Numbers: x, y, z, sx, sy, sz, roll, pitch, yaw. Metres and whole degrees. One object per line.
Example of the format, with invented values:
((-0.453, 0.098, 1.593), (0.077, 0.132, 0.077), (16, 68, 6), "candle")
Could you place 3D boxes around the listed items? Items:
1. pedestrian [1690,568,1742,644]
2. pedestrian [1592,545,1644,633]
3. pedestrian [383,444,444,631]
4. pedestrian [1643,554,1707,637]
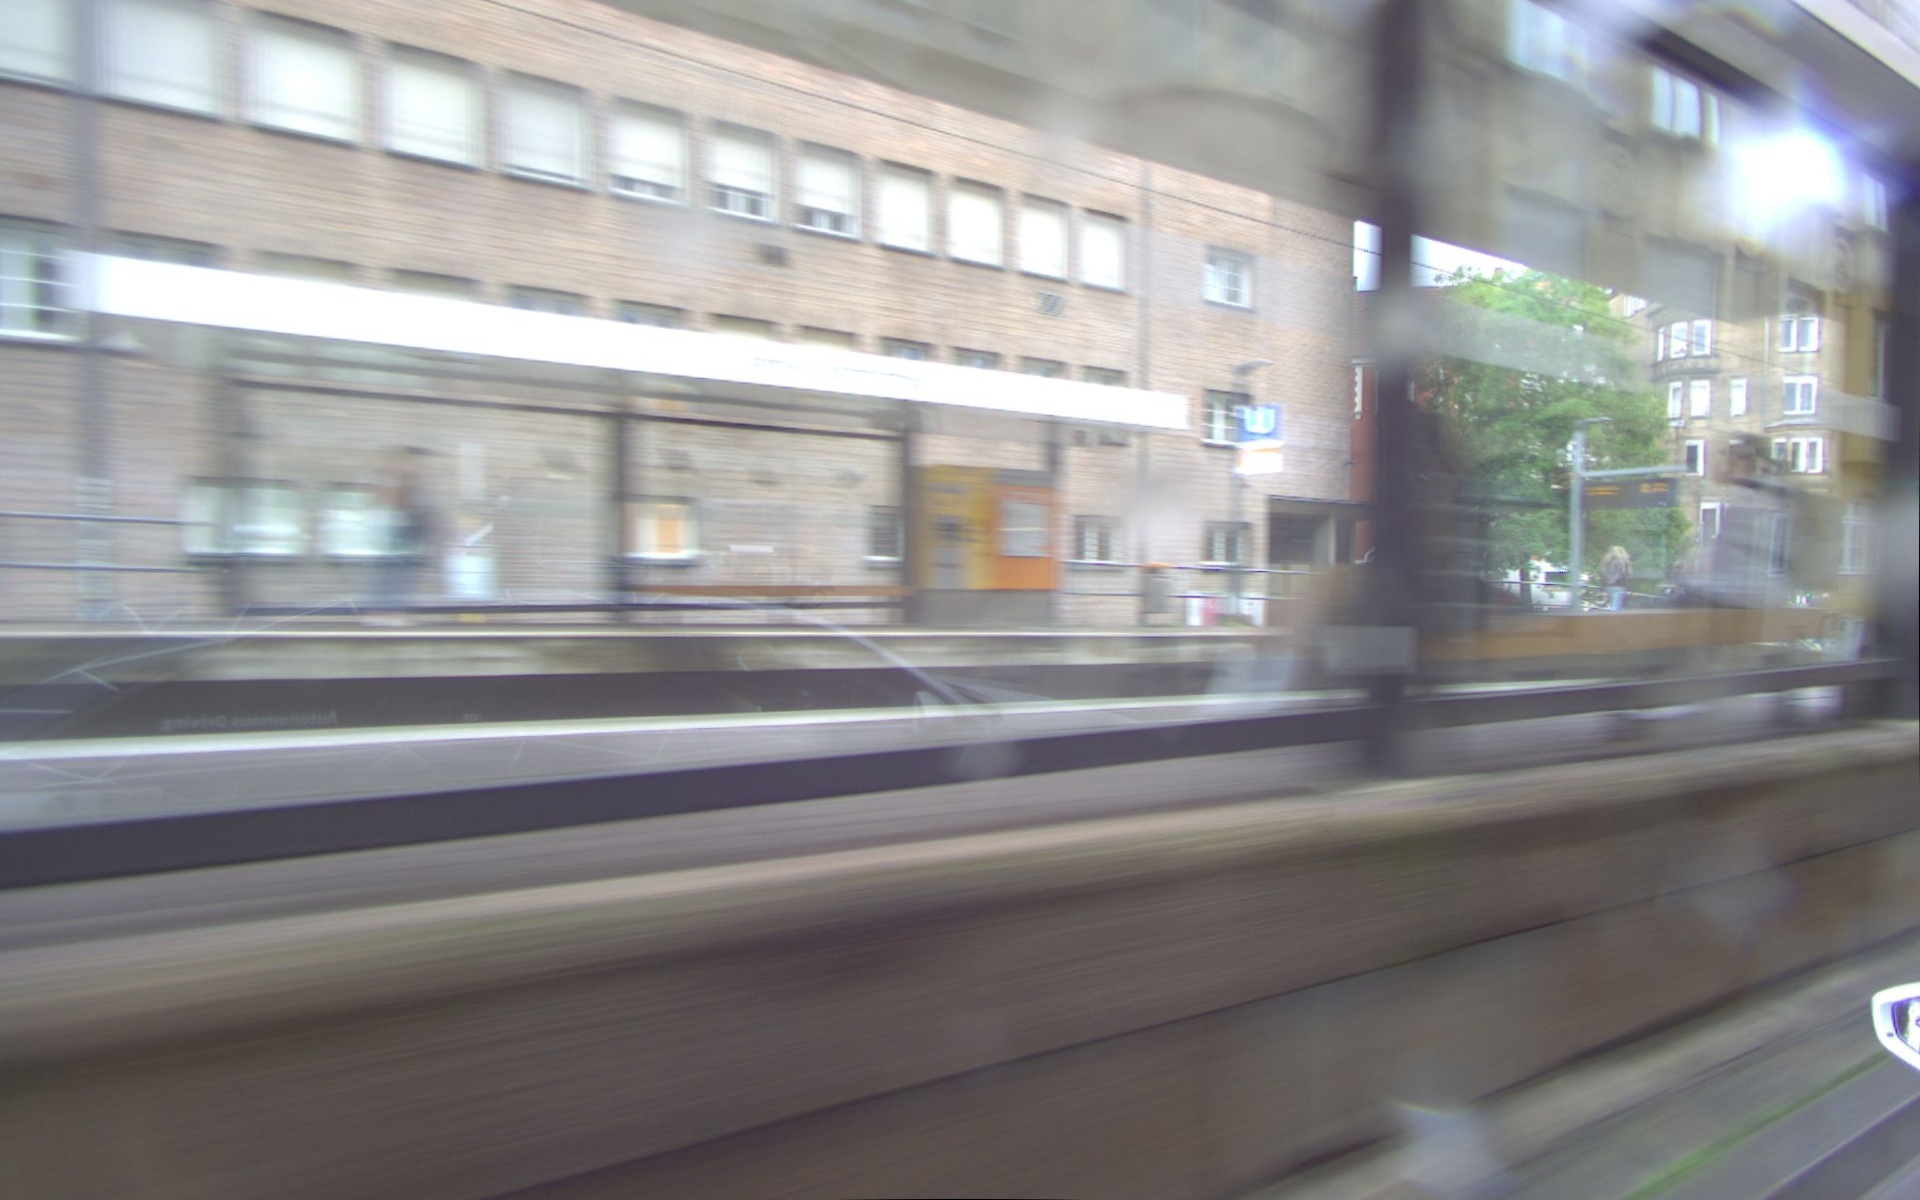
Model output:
((17.141, 0.154, 22.786), (0.633, 1.668, 0.740), (3, -4, -30), "pedestrian")
((13.283, -0.216, 20.276), (0.681, 1.721, 0.660), (0, 0, -34), "pedestrian")
((-5.270, -0.573, 9.684), (0.486, 1.732, 0.584), (1, -1, -31), "pedestrian")
((15.525, -0.104, 21.815), (0.872, 1.719, 0.740), (3, 1, -30), "pedestrian")
